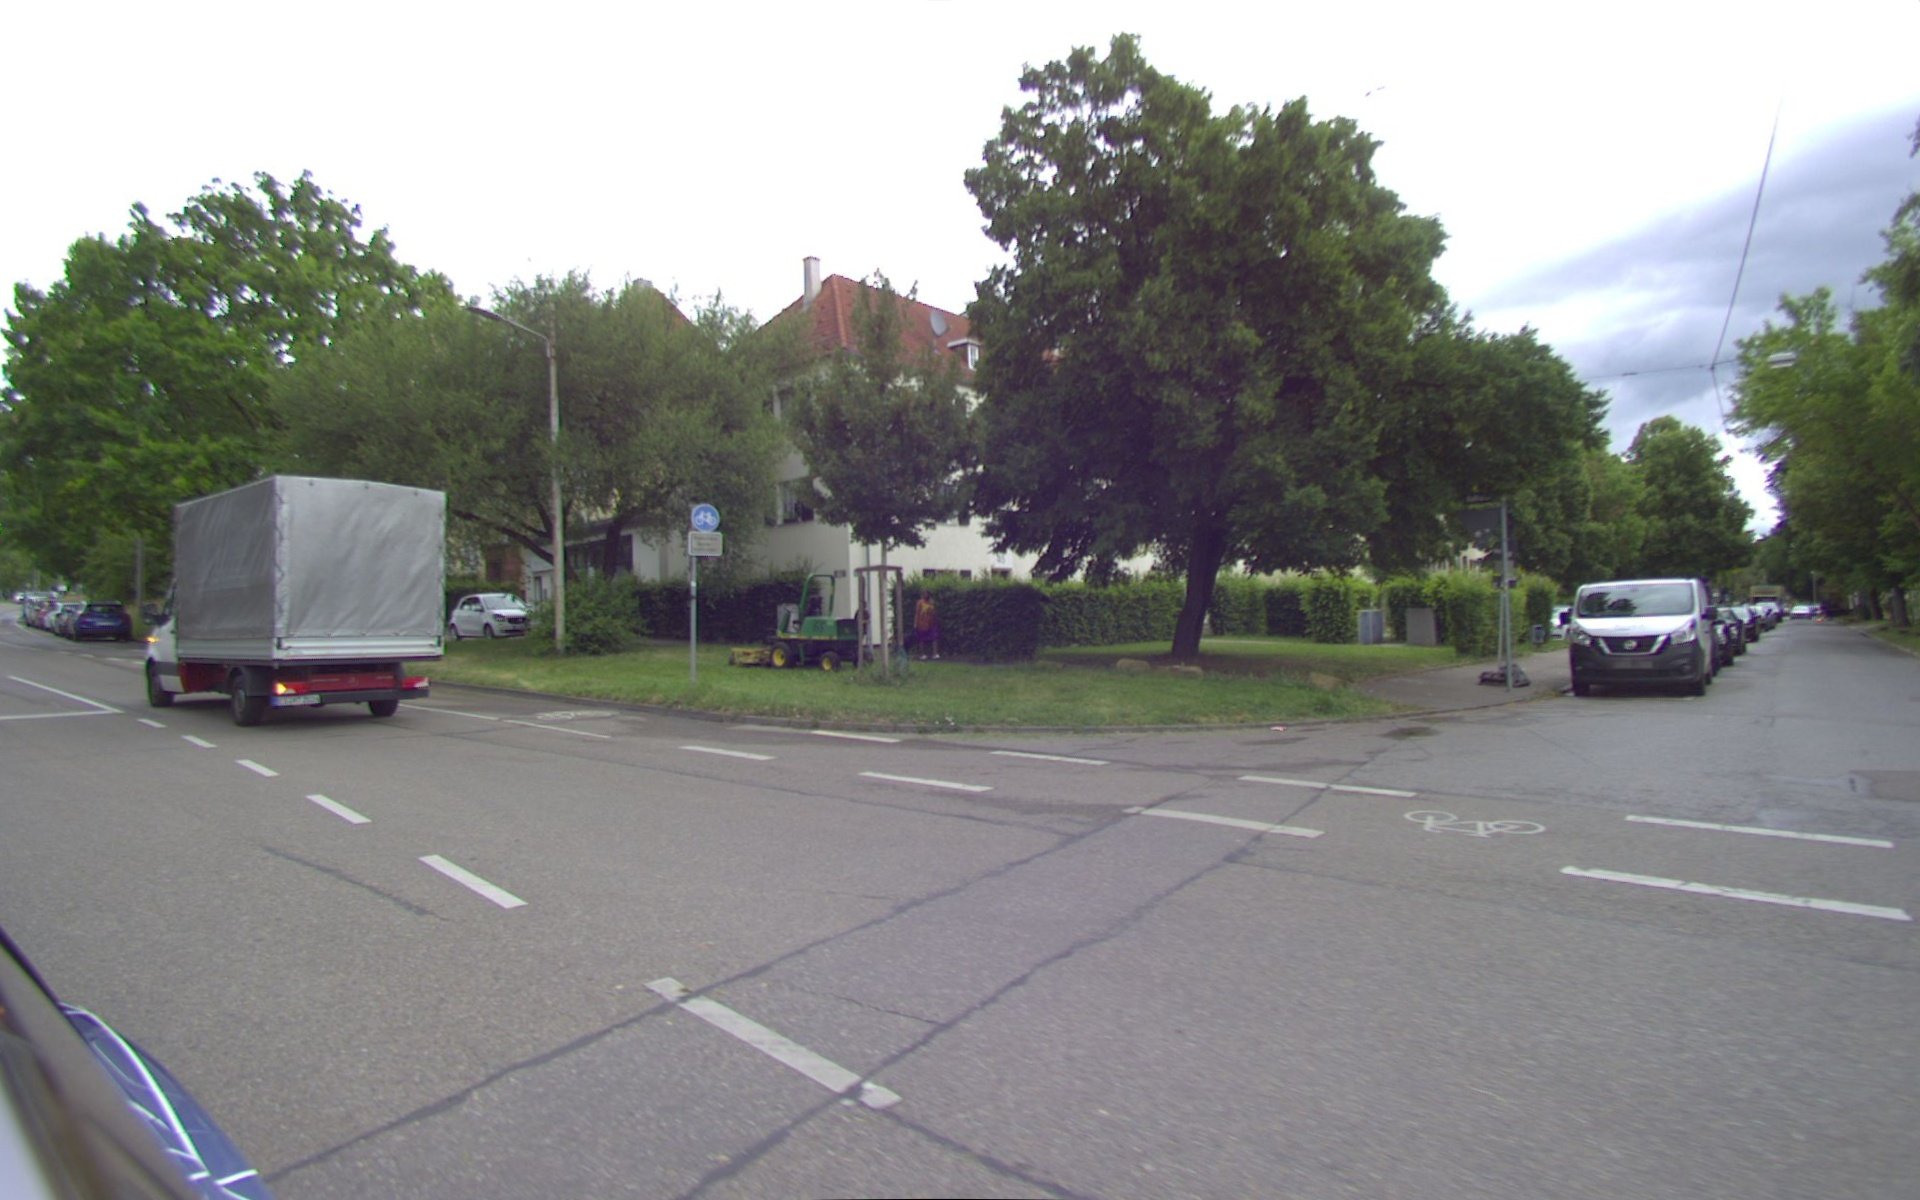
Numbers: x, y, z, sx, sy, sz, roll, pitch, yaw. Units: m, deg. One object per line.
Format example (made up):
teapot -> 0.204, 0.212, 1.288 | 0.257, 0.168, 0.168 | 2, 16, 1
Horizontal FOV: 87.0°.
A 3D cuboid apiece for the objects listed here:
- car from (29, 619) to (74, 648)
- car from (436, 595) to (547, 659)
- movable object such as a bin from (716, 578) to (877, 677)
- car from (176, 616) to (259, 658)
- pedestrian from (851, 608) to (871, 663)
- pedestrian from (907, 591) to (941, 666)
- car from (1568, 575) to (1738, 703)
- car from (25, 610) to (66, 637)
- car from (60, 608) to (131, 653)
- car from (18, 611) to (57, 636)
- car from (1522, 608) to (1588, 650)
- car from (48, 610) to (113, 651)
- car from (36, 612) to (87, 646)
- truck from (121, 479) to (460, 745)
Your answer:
car -> -48.185, 1.735, 53.678 | 1.599, 1.408, 3.681 | -1, 0, -44
car -> -15.134, 0.821, 32.602 | 3.998, 1.904, 1.733 | -1, 0, 41
movable object such as a bin -> -3.372, 0.543, 20.780 | 3.232, 1.918, 1.089 | -1, 0, 26
car -> -26.978, 1.298, 36.733 | 3.998, 1.364, 1.584 | -1, 0, 41
pedestrian -> -2.367, 0.841, 24.147 | 0.353, 1.281, 0.361 | 0, -1, -27
pedestrian -> -0.856, 0.680, 24.419 | 0.682, 1.770, 0.775 | -1, 0, 8
car -> 12.331, 0.550, 17.849 | 1.998, 1.931, 5.088 | -1, 0, 40
car -> -52.071, 1.310, 57.596 | 1.599, 1.408, 3.681 | -1, 0, -44
car -> -35.822, 1.221, 41.901 | 1.971, 1.696, 4.003 | -1, 0, -44
car -> -55.869, 1.421, 61.286 | 1.599, 1.408, 3.681 | -1, 0, -44
car -> 22.206, 1.046, 37.738 | 1.584, 1.391, 3.405 | -1, 0, 40
car -> -39.670, 1.339, 45.630 | 1.971, 1.696, 4.003 | -1, 0, -44
car -> -44.454, 1.394, 50.050 | 1.693, 1.563, 3.681 | -1, 0, -44
truck -> -10.561, 0.175, 15.615 | 7.209, 3.262, 2.342 | -1, -1, 39
